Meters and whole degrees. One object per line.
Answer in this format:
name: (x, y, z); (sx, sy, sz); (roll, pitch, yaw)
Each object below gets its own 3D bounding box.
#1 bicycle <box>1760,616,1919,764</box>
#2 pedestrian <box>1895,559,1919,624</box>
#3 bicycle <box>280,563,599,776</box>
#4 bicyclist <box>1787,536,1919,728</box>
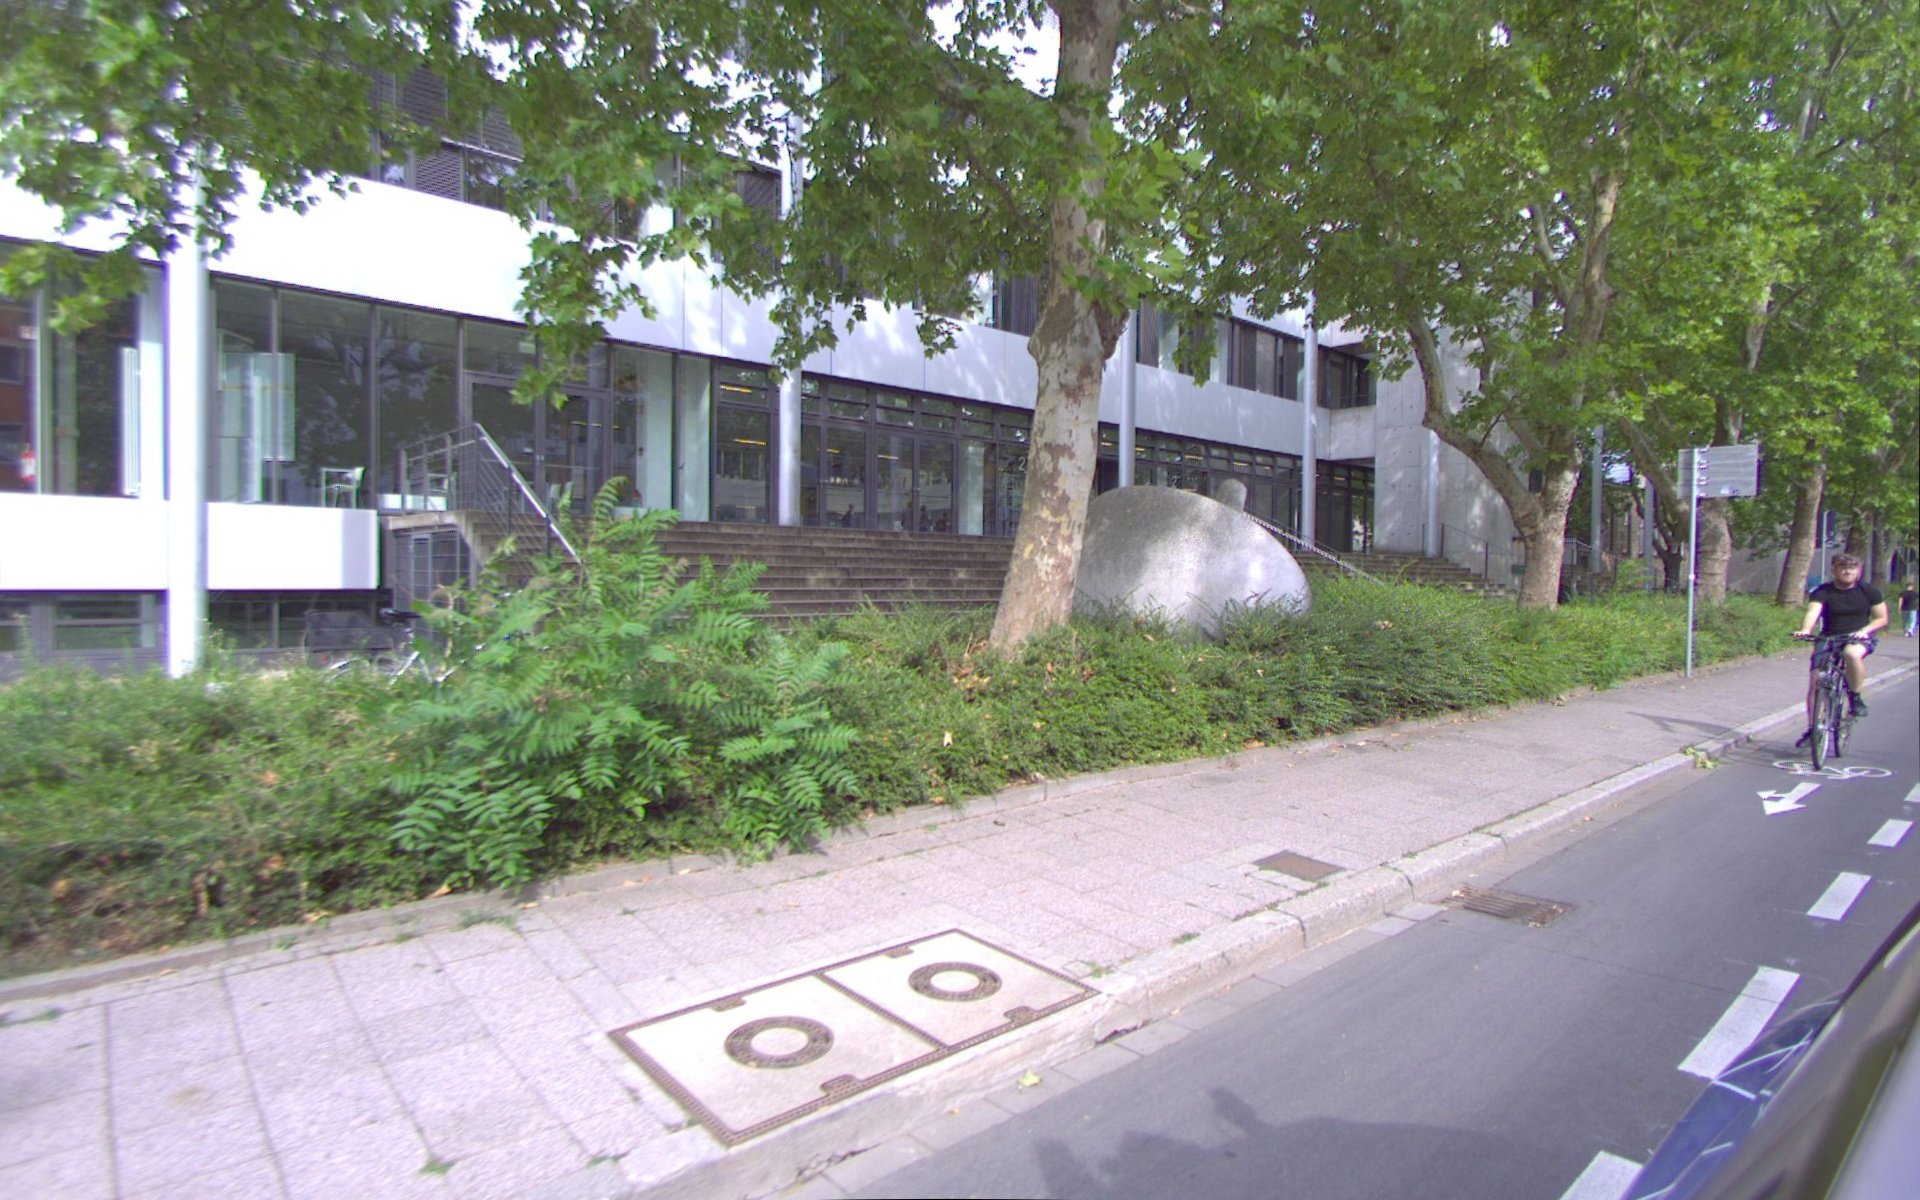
bicycle: (7.942, 0.731, 8.939); (1.965, 1.145, 0.773); (0, -1, -33)
pedestrian: (30.258, -0.270, 31.911); (0.979, 2.039, 1.003); (0, 0, -39)
bicycle: (-3.273, 0.376, 6.449); (1.695, 1.183, 0.699); (-1, 0, -41)
bicyclist: (7.977, 0.270, 8.965); (0.786, 1.603, 0.773); (0, -1, -33)
